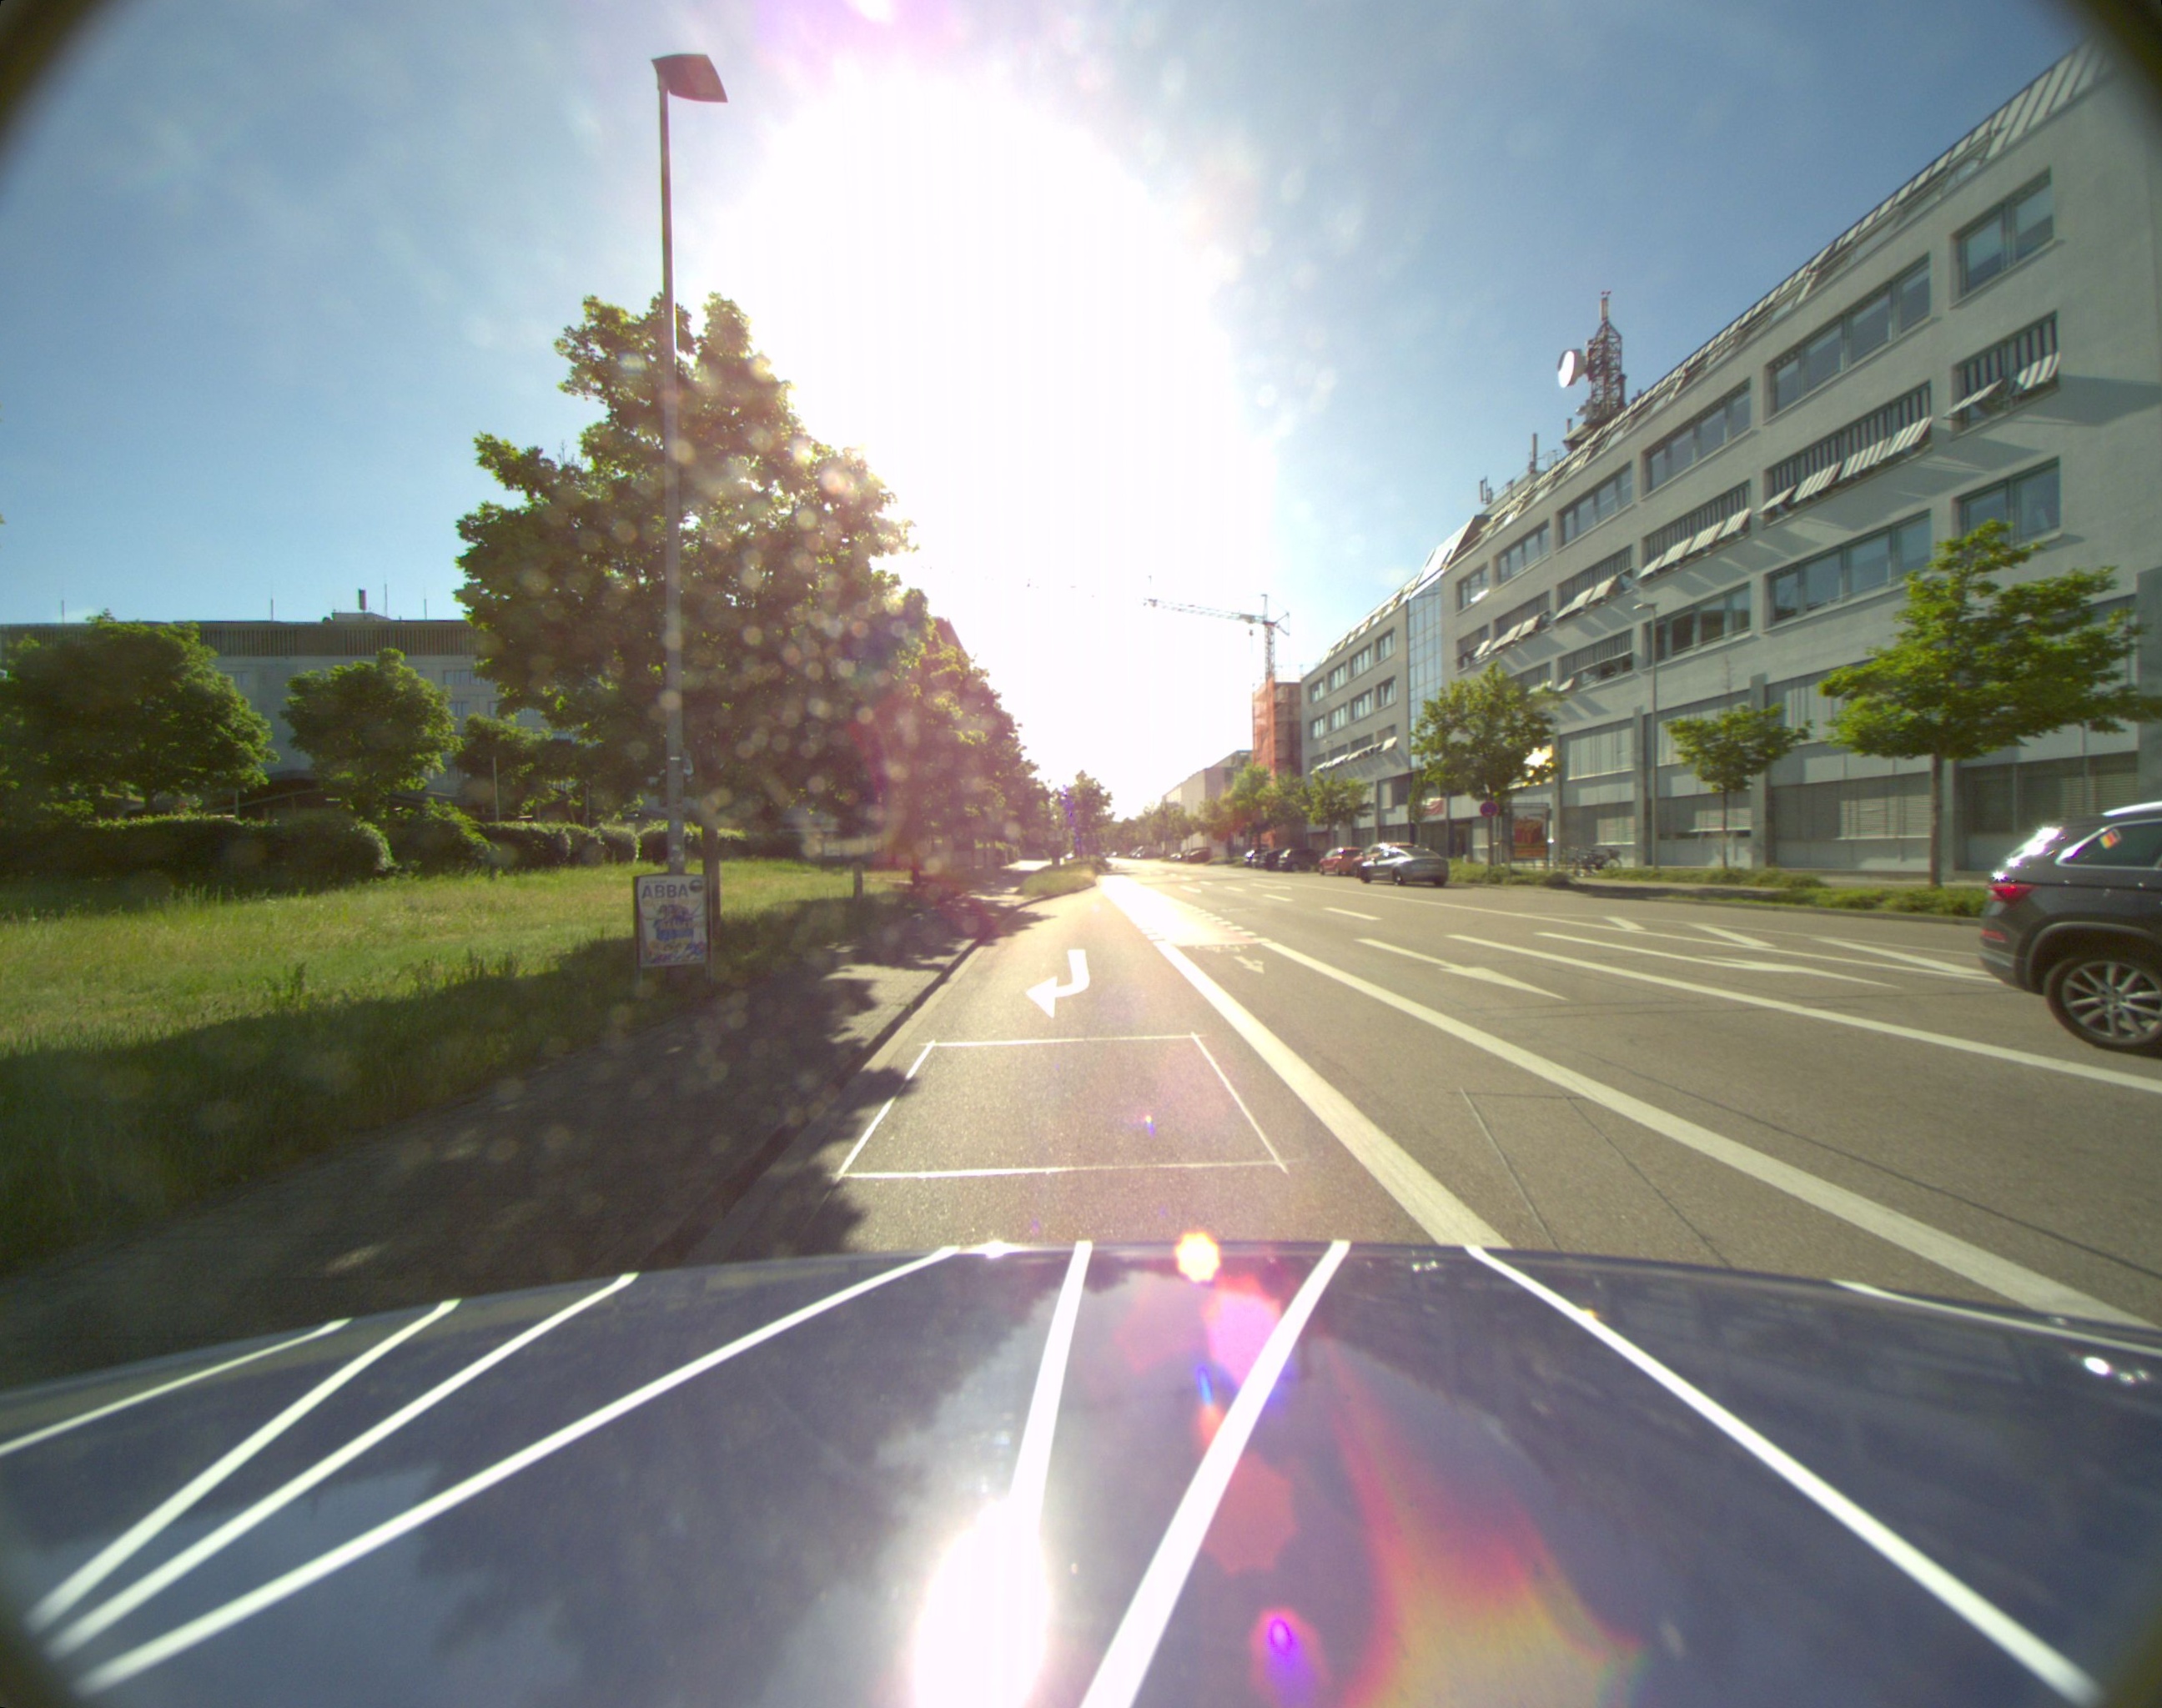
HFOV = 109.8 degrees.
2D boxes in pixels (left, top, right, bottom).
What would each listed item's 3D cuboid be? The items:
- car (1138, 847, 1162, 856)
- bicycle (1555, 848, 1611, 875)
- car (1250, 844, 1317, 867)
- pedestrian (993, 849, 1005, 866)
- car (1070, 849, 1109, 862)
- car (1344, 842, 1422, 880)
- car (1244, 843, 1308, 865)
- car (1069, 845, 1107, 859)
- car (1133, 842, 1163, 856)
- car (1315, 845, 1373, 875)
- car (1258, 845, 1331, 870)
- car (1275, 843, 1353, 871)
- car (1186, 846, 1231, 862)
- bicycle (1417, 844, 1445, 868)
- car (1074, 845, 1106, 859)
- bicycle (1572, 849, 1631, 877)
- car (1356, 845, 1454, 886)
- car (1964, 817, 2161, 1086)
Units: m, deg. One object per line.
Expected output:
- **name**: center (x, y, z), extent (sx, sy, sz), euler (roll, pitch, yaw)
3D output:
- **car**: center (13.118, -0.538, 143.783), extent (4.316, 1.505, 1.693), euler (-3, 1, -1)
- **bicycle**: center (20.017, 0.277, 30.307), extent (1.770, 1.063, 0.556), euler (0, 1, 7)
- **car**: center (14.742, 0.087, 55.525), extent (4.396, 1.424, 1.693), euler (-3, 1, 1)
- **pedestrian**: center (-6.116, 0.251, 56.591), extent (0.847, 1.210, 0.728), euler (0, 1, -13)
- **car**: center (0.977, 0.139, 86.538), extent (4.413, 1.455, 1.895), euler (0, 1, -1)
- **car**: center (14.223, 0.303, 36.036), extent (1.693, 1.598, 4.309), euler (-3, 1, -4)
- **car**: center (14.819, -0.018, 57.965), extent (4.396, 1.424, 1.693), euler (-3, 1, 1)
- **car**: center (0.770, -0.225, 88.815), extent (4.413, 1.631, 2.074), euler (0, 1, -1)
- **car**: center (12.996, -0.926, 147.124), extent (5.583, 2.468, 2.010), euler (-3, 1, 1)
- **car**: center (14.096, 0.293, 40.916), extent (1.692, 1.423, 3.871), euler (-3, 1, -1)
- **car**: center (14.414, 0.217, 51.432), extent (4.397, 1.424, 1.693), euler (-3, 1, -3)
- **car**: center (14.806, 0.182, 48.387), extent (4.398, 1.529, 1.692), euler (-3, 1, -5)
- **car**: center (13.704, -0.031, 81.926), extent (4.398, 1.424, 1.976), euler (-3, 1, -4)
- **bicycle**: center (19.956, 0.106, 43.347), extent (0.710, 1.339, 2.233), euler (0, 1, 5)
- **car**: center (1.242, -0.307, 104.070), extent (4.413, 1.881, 2.074), euler (0, 1, -1)
- **bicycle**: center (20.208, 0.337, 29.537), extent (1.792, 1.063, 0.622), euler (0, 1, 7)
- **car**: center (12.589, 0.405, 29.872), extent (1.693, 1.460, 4.545), euler (0, 0, -4)
- **car**: center (7.507, 0.584, 3.432), extent (1.758, 1.619, 4.477), euler (-3, 1, -1)
